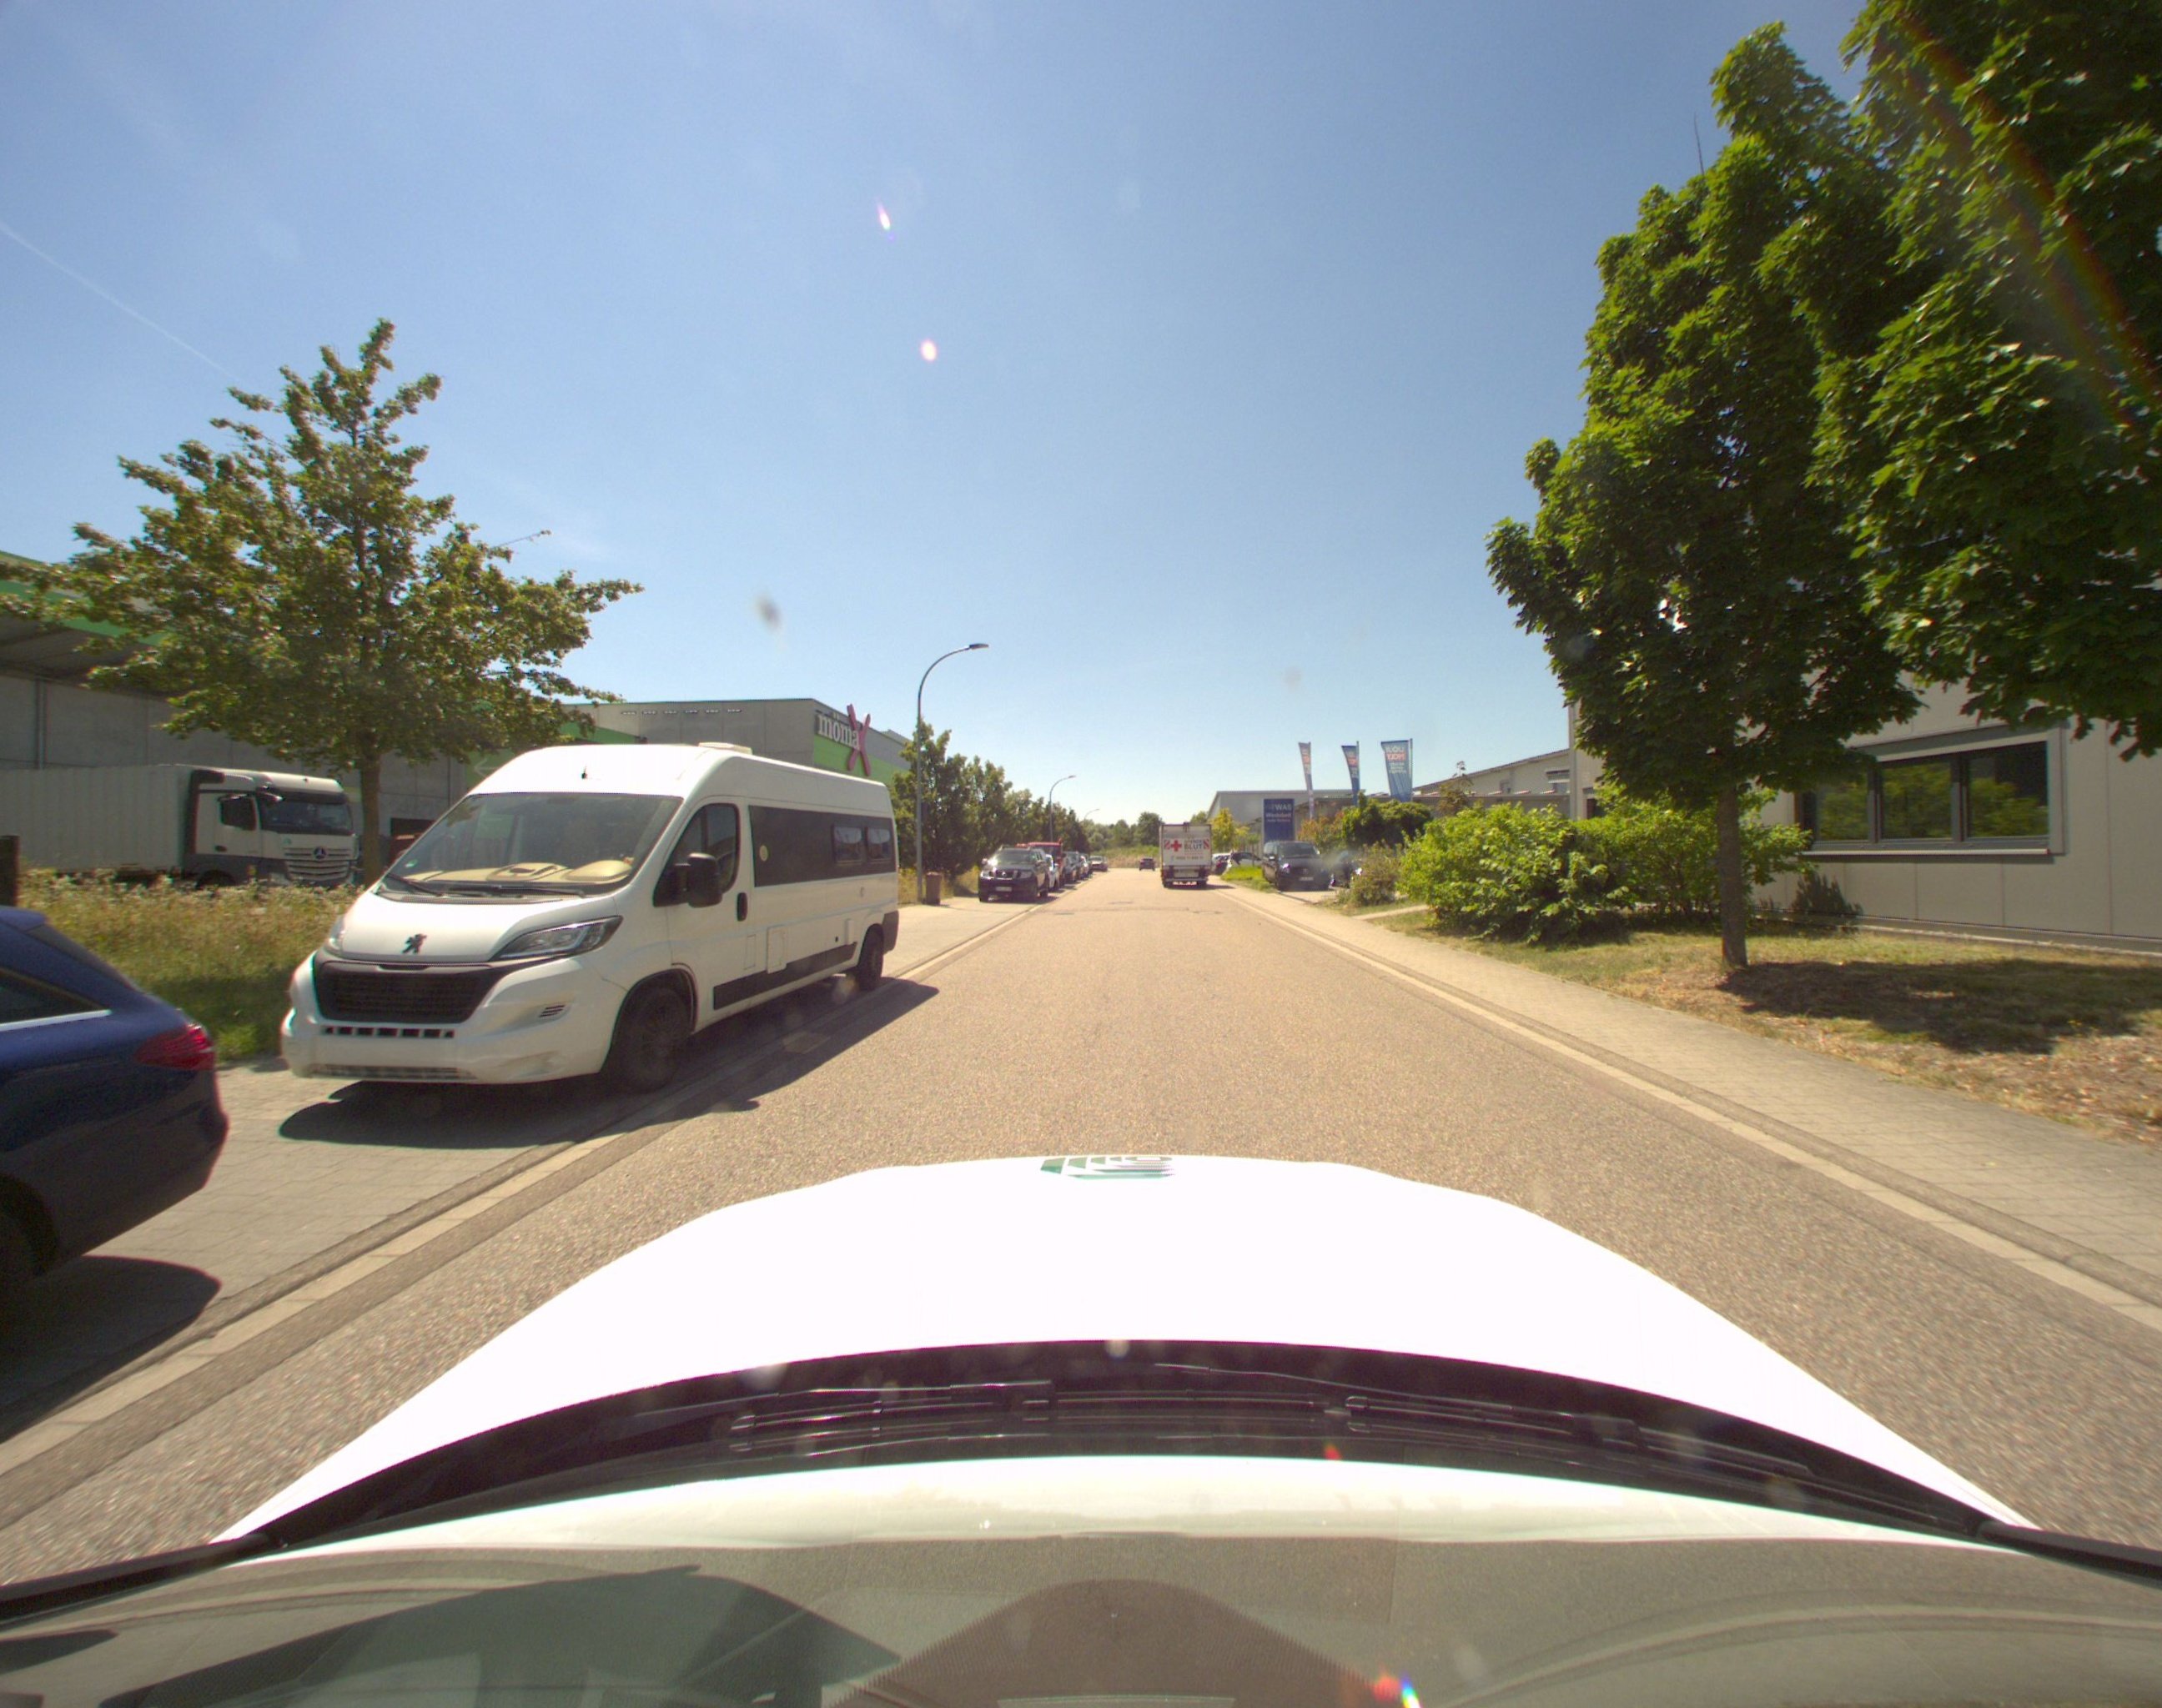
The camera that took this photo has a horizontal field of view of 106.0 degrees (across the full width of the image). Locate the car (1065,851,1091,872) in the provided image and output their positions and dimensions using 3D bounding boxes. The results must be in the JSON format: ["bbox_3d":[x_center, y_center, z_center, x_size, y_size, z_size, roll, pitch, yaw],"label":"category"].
[{"bbox_3d":[-0.164,0.583,62.165,1.845,1.519,5.168,1,0,1],"label":"car"}]

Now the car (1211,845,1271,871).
[{"bbox_3d":[10.505,0.264,53.759,3.675,1.541,1.916,-2,0,5],"label":"car"}]

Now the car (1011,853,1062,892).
[{"bbox_3d":[-1.827,0.728,34.577,1.844,1.551,3.768,1,0,2],"label":"car"}]

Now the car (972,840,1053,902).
[{"bbox_3d":[-2.209,0.518,27.926,1.965,1.901,5.407,1,0,4],"label":"car"}]

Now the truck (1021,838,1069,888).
[{"bbox_3d":[-1.654,0.410,39.372,1.844,2.222,4.649,1,0,3],"label":"truck"}]

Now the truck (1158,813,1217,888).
[{"bbox_3d":[4.920,-0.185,38.599,2.445,3.205,6.892,1,0,5],"label":"truck"}]

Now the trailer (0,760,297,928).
[{"bbox_3d":[-30.378,-0.089,22.337,15.253,4.087,3.222,-2,0,3],"label":"trailer"}]

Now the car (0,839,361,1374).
[{"bbox_3d":[-4.114,0.715,1.149,1.822,1.541,4.631,1,0,5],"label":"car"}]

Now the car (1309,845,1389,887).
[{"bbox_3d":[10.562,0.446,32.430,1.984,1.536,4.596,-1,0,4],"label":"car"}]

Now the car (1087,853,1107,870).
[{"bbox_3d":[1.737,0.782,85.046,1.904,1.713,4.417,-1,0,3],"label":"car"}]

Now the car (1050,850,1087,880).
[{"bbox_3d":[-0.719,0.628,50.502,1.843,1.758,4.993,1,0,4],"label":"car"}]

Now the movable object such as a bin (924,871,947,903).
[{"bbox_3d":[-4.366,0.989,24.499,0.545,0.950,0.683,0,0,2],"label":"movable object such as a bin"}]

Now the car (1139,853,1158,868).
[{"bbox_3d":[7.876,0.765,95.178,1.906,1.713,4.032,-1,0,1],"label":"car"}]

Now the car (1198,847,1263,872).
[{"bbox_3d":[10.316,0.382,56.341,4.259,1.541,1.916,-2,0,5],"label":"car"}]

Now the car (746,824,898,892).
[{"bbox_3d":[-11.530,0.173,36.577,5.949,2.925,2.523,0,0,2],"label":"car"}]

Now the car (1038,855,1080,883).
[{"bbox_3d":[-1.164,0.772,44.790,1.843,1.443,4.758,1,0,4],"label":"car"}]

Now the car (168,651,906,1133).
[{"bbox_3d":[-3.662,0.193,7.498,2.312,2.598,6.093,1,0,5],"label":"car"}]

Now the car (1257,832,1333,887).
[{"bbox_3d":[8.449,0.203,32.659,1.984,2.013,5.343,-1,0,4],"label":"car"}]

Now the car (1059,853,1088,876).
[{"bbox_3d":[-0.453,0.691,56.247,1.845,1.519,4.906,1,0,1],"label":"car"}]

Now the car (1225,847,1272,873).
[{"bbox_3d":[10.521,0.352,51.250,2.693,1.541,1.414,-2,0,5],"label":"car"}]

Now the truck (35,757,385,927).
[{"bbox_3d":[-23.129,-0.284,21.910,6.079,4.087,3.223,-2,0,4],"label":"truck"}]
